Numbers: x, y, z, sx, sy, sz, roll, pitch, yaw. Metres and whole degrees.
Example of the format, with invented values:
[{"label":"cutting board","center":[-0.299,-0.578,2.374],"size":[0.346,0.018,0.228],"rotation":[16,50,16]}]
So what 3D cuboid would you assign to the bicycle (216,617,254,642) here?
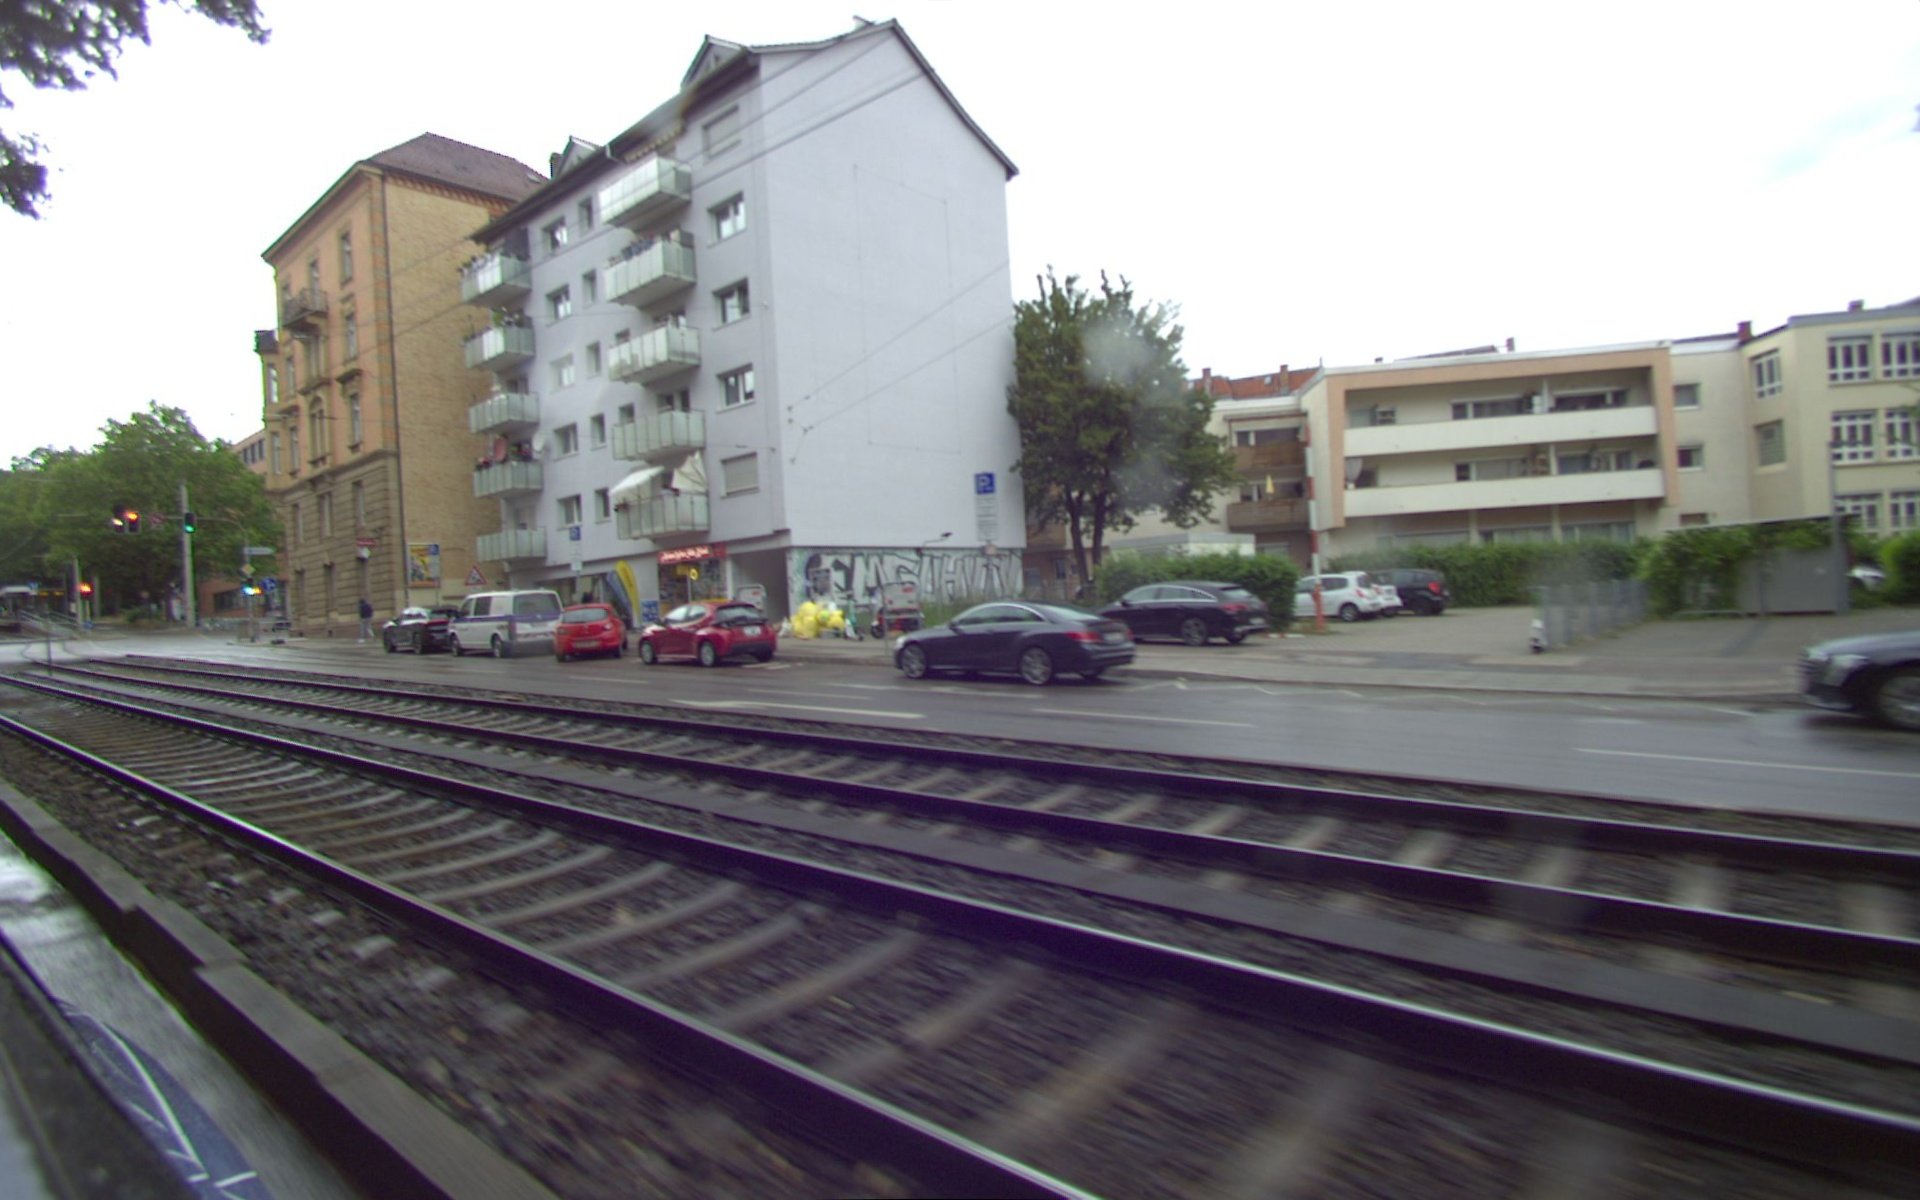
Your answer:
[{"label":"bicycle","center":[-51.508,2.093,71.926],"size":[0.555,1.711,2.073],"rotation":[0,1,35]}]

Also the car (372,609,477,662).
[{"label":"car","center":[-18.516,1.174,34.905],"size":[4.361,1.663,1.715],"rotation":[0,1,41]}]

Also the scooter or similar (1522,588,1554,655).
[{"label":"scooter or similar","center":[10.202,0.360,17.860],"size":[0.378,1.121,1.280],"rotation":[-1,1,34]}]

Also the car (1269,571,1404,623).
[{"label":"car","center":[12.526,-0.147,33.788],"size":[1.648,1.645,3.907],"rotation":[-2,2,-44]}]

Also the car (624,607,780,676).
[{"label":"car","center":[-6.232,0.933,24.198],"size":[4.072,1.462,1.636],"rotation":[0,1,42]}]

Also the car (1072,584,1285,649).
[{"label":"car","center":[4.849,0.364,22.956],"size":[1.848,1.313,4.483],"rotation":[-1,0,-42]}]

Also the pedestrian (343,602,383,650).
[{"label":"pedestrian","center":[-24.794,1.063,42.021],"size":[1.178,1.943,1.158],"rotation":[-1,1,44]}]

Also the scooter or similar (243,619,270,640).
[{"label":"scooter or similar","center":[-49.592,2.052,71.329],"size":[0.450,1.381,1.494],"rotation":[-1,1,24]}]

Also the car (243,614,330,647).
[{"label":"car","center":[-35.921,1.576,54.111],"size":[1.758,1.549,3.786],"rotation":[0,1,10]}]

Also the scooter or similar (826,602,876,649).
[{"label":"scooter or similar","center":[-2.972,0.664,27.407],"size":[0.614,1.209,1.900],"rotation":[-4,2,-29]}]

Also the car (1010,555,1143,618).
[{"label":"car","center":[3.684,-0.372,32.363],"size":[3.999,1.836,1.668],"rotation":[-2,-2,42]}]

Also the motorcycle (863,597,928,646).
[{"label":"motorcycle","center":[-1.762,0.556,27.473],"size":[1.783,1.209,0.633],"rotation":[2,5,40]}]

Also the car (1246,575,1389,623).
[{"label":"car","center":[11.168,-0.016,31.764],"size":[3.901,1.411,1.651],"rotation":[-1,0,41]}]

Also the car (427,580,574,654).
[{"label":"car","center":[-14.312,0.496,31.389],"size":[5.299,2.024,2.049],"rotation":[-1,3,41]}]

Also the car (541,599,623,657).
[{"label":"car","center":[-10.546,0.720,28.481],"size":[1.755,1.444,3.994],"rotation":[-1,1,-15]}]

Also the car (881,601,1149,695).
[{"label":"car","center":[0.852,0.738,17.662],"size":[4.619,1.406,1.663],"rotation":[0,1,40]}]

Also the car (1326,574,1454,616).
[{"label":"car","center":[14.783,-0.199,34.921],"size":[3.742,1.352,1.650],"rotation":[1,2,43]}]

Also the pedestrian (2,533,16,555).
[{"label":"pedestrian","center":[-93.192,-5.461,99.186],"size":[0.883,2.078,0.827],"rotation":[0,0,37]}]

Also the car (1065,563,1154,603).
[{"label":"car","center":[7.444,-0.836,50.556],"size":[4.043,1.877,1.699],"rotation":[-2,0,39]}]

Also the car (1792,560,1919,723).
[{"label":"car","center":[10.862,0.376,9.187],"size":[4.982,1.519,1.835],"rotation":[0,0,36]}]
